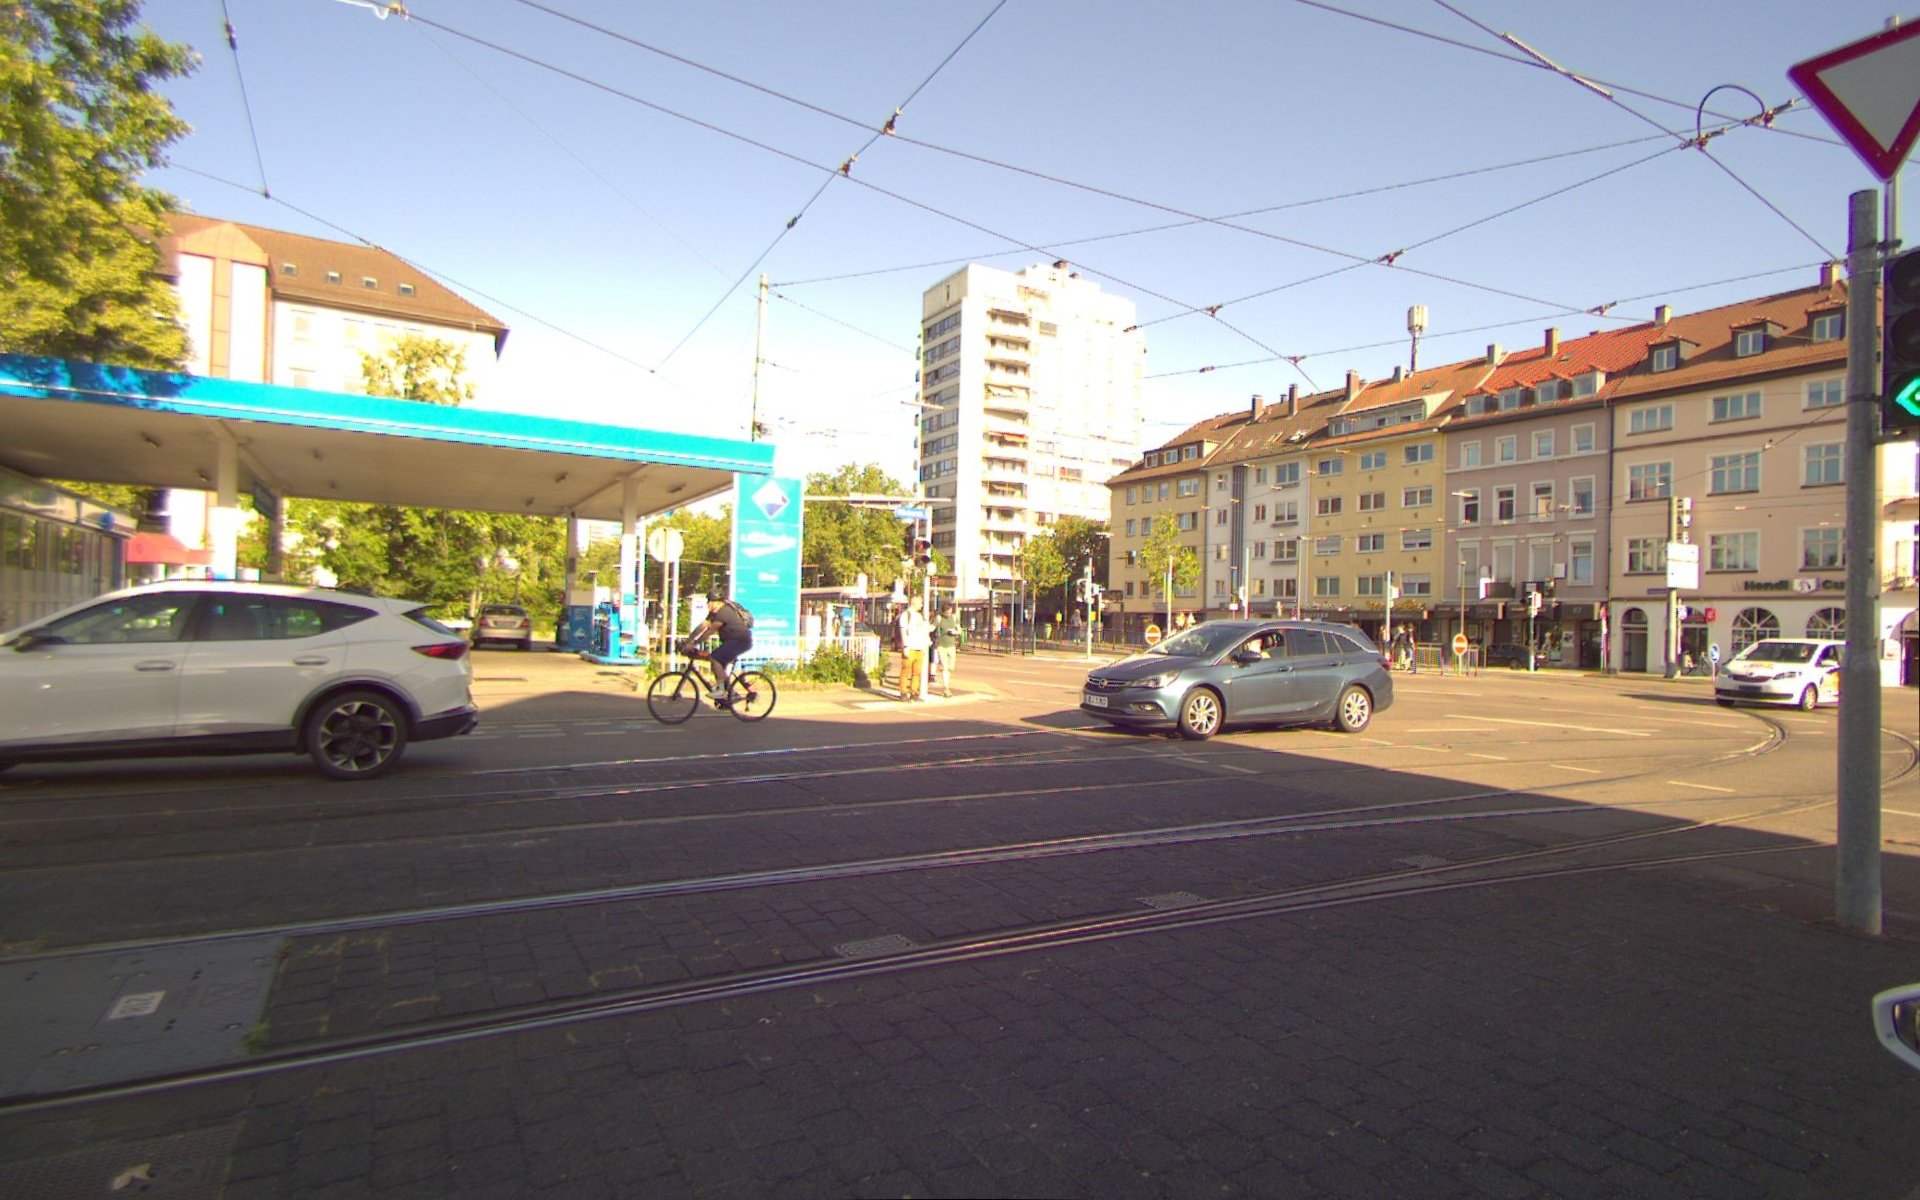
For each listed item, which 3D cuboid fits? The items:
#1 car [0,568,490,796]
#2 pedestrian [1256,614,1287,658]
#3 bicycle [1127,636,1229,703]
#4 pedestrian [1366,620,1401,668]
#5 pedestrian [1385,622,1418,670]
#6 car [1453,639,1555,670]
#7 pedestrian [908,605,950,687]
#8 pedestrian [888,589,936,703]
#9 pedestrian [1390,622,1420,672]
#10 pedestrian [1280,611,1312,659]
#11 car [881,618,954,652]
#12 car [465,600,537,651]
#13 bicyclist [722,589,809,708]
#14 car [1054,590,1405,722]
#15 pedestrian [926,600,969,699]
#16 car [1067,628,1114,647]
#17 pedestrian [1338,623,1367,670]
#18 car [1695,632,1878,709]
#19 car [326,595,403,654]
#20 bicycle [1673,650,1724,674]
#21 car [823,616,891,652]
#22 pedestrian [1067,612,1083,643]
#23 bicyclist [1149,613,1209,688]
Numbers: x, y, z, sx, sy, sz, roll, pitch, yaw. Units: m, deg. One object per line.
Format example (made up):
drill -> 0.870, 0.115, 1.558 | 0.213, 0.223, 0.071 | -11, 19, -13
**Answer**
car -> -6.179, 0.584, 7.978 | 4.295, 1.517, 1.985 | 2, -1, -29
pedestrian -> 12.038, 1.398, 38.849 | 0.794, 1.652, 0.863 | 2, -1, -12
bicycle -> 4.061, 1.290, 18.667 | 1.931, 1.181, 0.484 | 2, -1, -24
pedestrian -> 16.031, 1.656, 38.042 | 0.831, 1.756, 0.897 | 2, -1, -32
pedestrian -> 16.293, 1.687, 37.036 | 0.815, 1.756, 0.781 | 2, -1, -34
car -> 29.376, 2.946, 54.398 | 1.725, 1.459, 4.614 | 3, -2, -32
pedestrian -> -0.681, 0.993, 21.909 | 0.721, 1.752, 0.746 | 2, -1, -15
pedestrian -> -0.847, 0.798, 17.666 | 0.577, 1.951, 0.626 | 2, -1, -29
pedestrian -> 15.765, 1.660, 35.576 | 0.789, 1.756, 0.651 | 1, -1, 40
pedestrian -> 12.705, 1.321, 38.010 | 0.833, 1.746, 0.824 | 2, -1, -8
car -> -2.037, 1.628, 47.362 | 1.697, 1.505, 4.185 | 2, -1, -30
car -> -14.769, 0.789, 32.239 | 1.697, 1.505, 4.185 | 2, -1, -30
bicyclist -> -2.695, 0.667, 13.911 | 0.975, 1.580, 0.711 | 2, -1, -30
car -> 3.636, 0.728, 13.371 | 4.515, 1.517, 1.767 | 2, -1, -28
pedestrian -> -0.244, 0.938, 19.146 | 0.727, 1.825, 0.742 | 1, -1, -5
car -> 11.143, 3.208, 86.207 | 1.921, 1.448, 3.965 | 3, -2, -32
pedestrian -> 15.049, 1.771, 38.473 | 0.811, 1.756, 0.785 | 1, -1, 40
car -> 17.696, 1.483, 21.507 | 3.536, 1.517, 1.712 | 2, -1, -26
car -> -16.483, 0.667, 27.900 | 1.697, 1.505, 4.185 | 2, -1, -30
bicycle -> 36.423, 3.053, 49.551 | 0.578, 1.081, 1.929 | 2, -1, -36
car -> -4.801, 1.542, 46.496 | 1.721, 1.539, 3.971 | 2, -2, -28
pedestrian -> 6.029, 1.433, 52.700 | 0.585, 1.589, 0.730 | 2, -1, -9
bicyclist -> 4.073, 0.929, 18.671 | 0.885, 1.357, 0.602 | 2, -1, -23
